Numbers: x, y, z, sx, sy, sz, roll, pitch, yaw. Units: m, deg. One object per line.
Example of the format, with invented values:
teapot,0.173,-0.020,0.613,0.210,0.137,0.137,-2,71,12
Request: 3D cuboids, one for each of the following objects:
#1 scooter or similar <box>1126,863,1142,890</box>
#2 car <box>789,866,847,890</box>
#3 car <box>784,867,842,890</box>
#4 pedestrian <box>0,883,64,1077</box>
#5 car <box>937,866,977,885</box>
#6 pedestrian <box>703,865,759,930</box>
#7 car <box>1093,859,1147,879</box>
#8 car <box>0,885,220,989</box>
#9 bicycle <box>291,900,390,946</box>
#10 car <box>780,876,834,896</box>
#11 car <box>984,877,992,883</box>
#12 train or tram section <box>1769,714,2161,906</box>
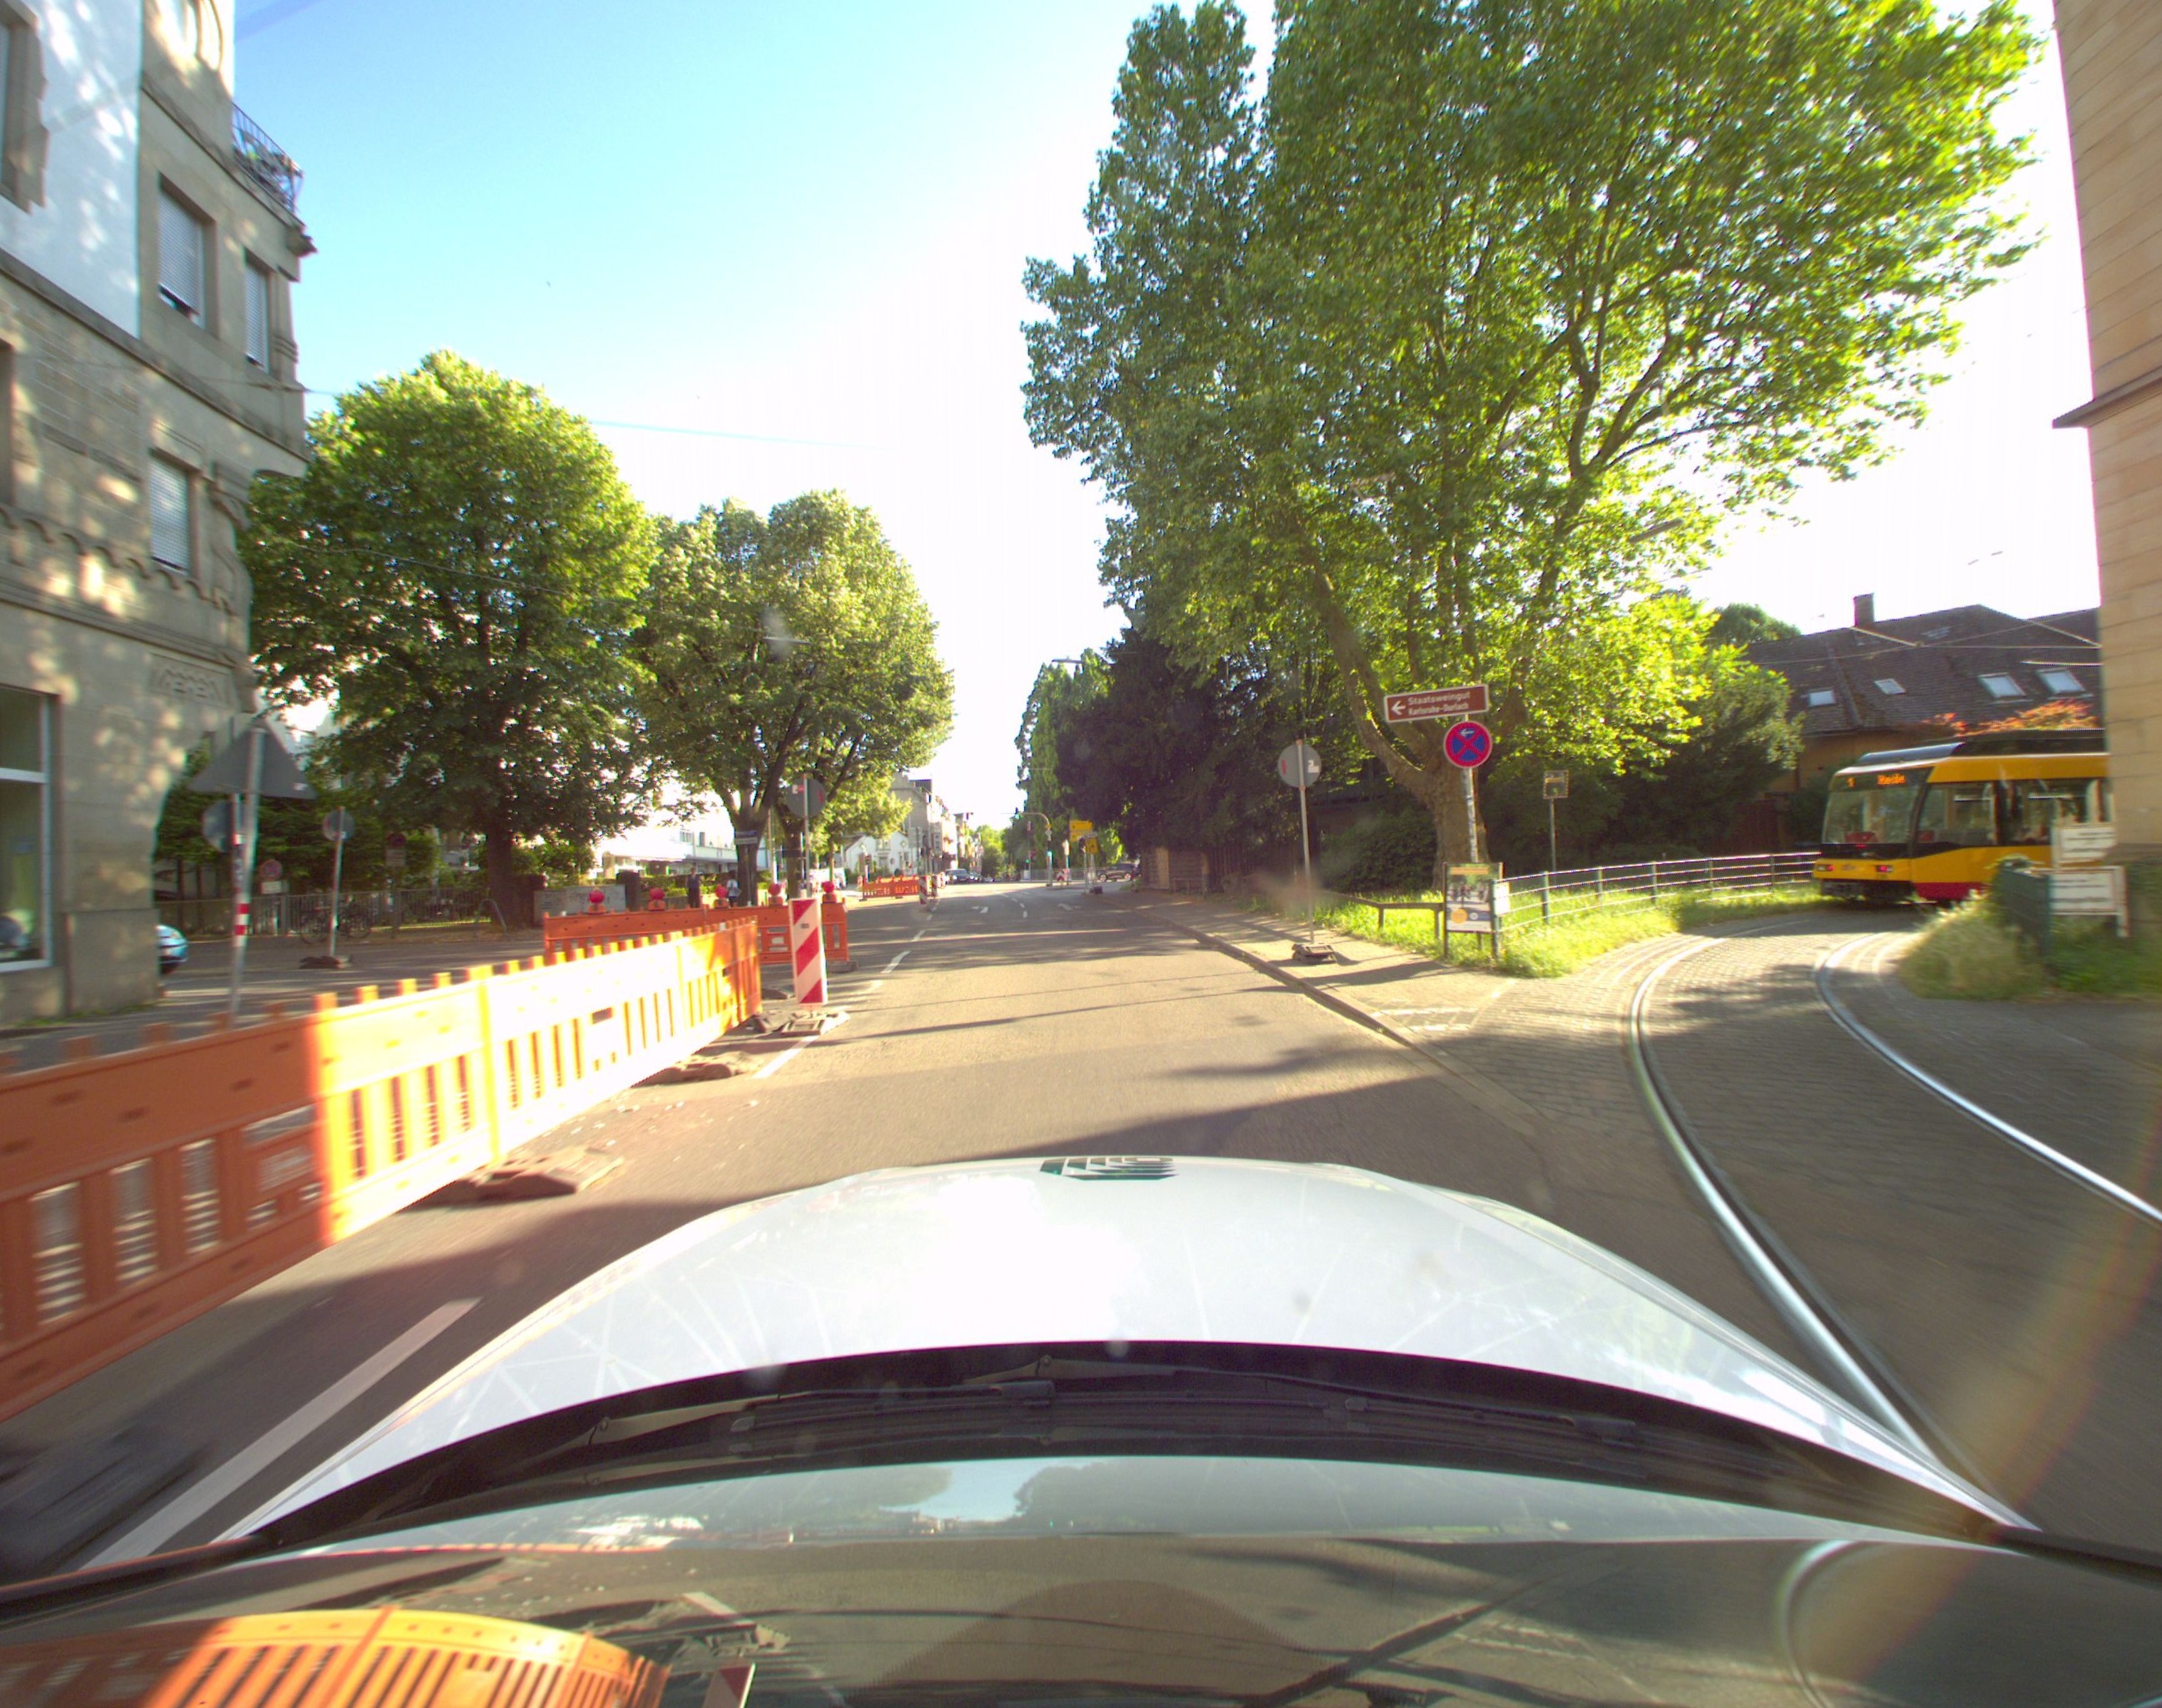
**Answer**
scooter or similar,2.443,1.014,37.703,0.437,1.202,1.256,-5,0,-4
car,-23.501,2.152,72.990,4.667,1.965,2.110,-1,-1,-10
car,-23.040,2.121,70.145,4.307,1.852,1.996,-1,-1,-6
pedestrian,-9.440,1.067,6.780,0.822,1.603,0.913,-1,-1,-14
car,-12.943,2.246,84.928,2.012,1.815,4.199,-5,2,-43
pedestrian,-10.116,1.231,23.572,1.040,1.781,1.191,-2,-1,0
car,3.541,1.389,74.240,4.603,1.670,2.012,-3,-4,37
car,-18.048,1.438,14.043,3.982,1.552,1.996,-3,-1,-6
bicycle,-19.642,1.804,21.663,0.742,1.077,1.936,-1,-1,4
car,-22.678,2.636,67.487,3.994,1.479,1.992,-2,-1,-12
car,-27.156,7.548,237.228,1.990,1.491,4.463,-3,-1,-4
train or tram section,19.835,-0.884,16.843,9.220,3.519,2.794,-1,-1,-4
